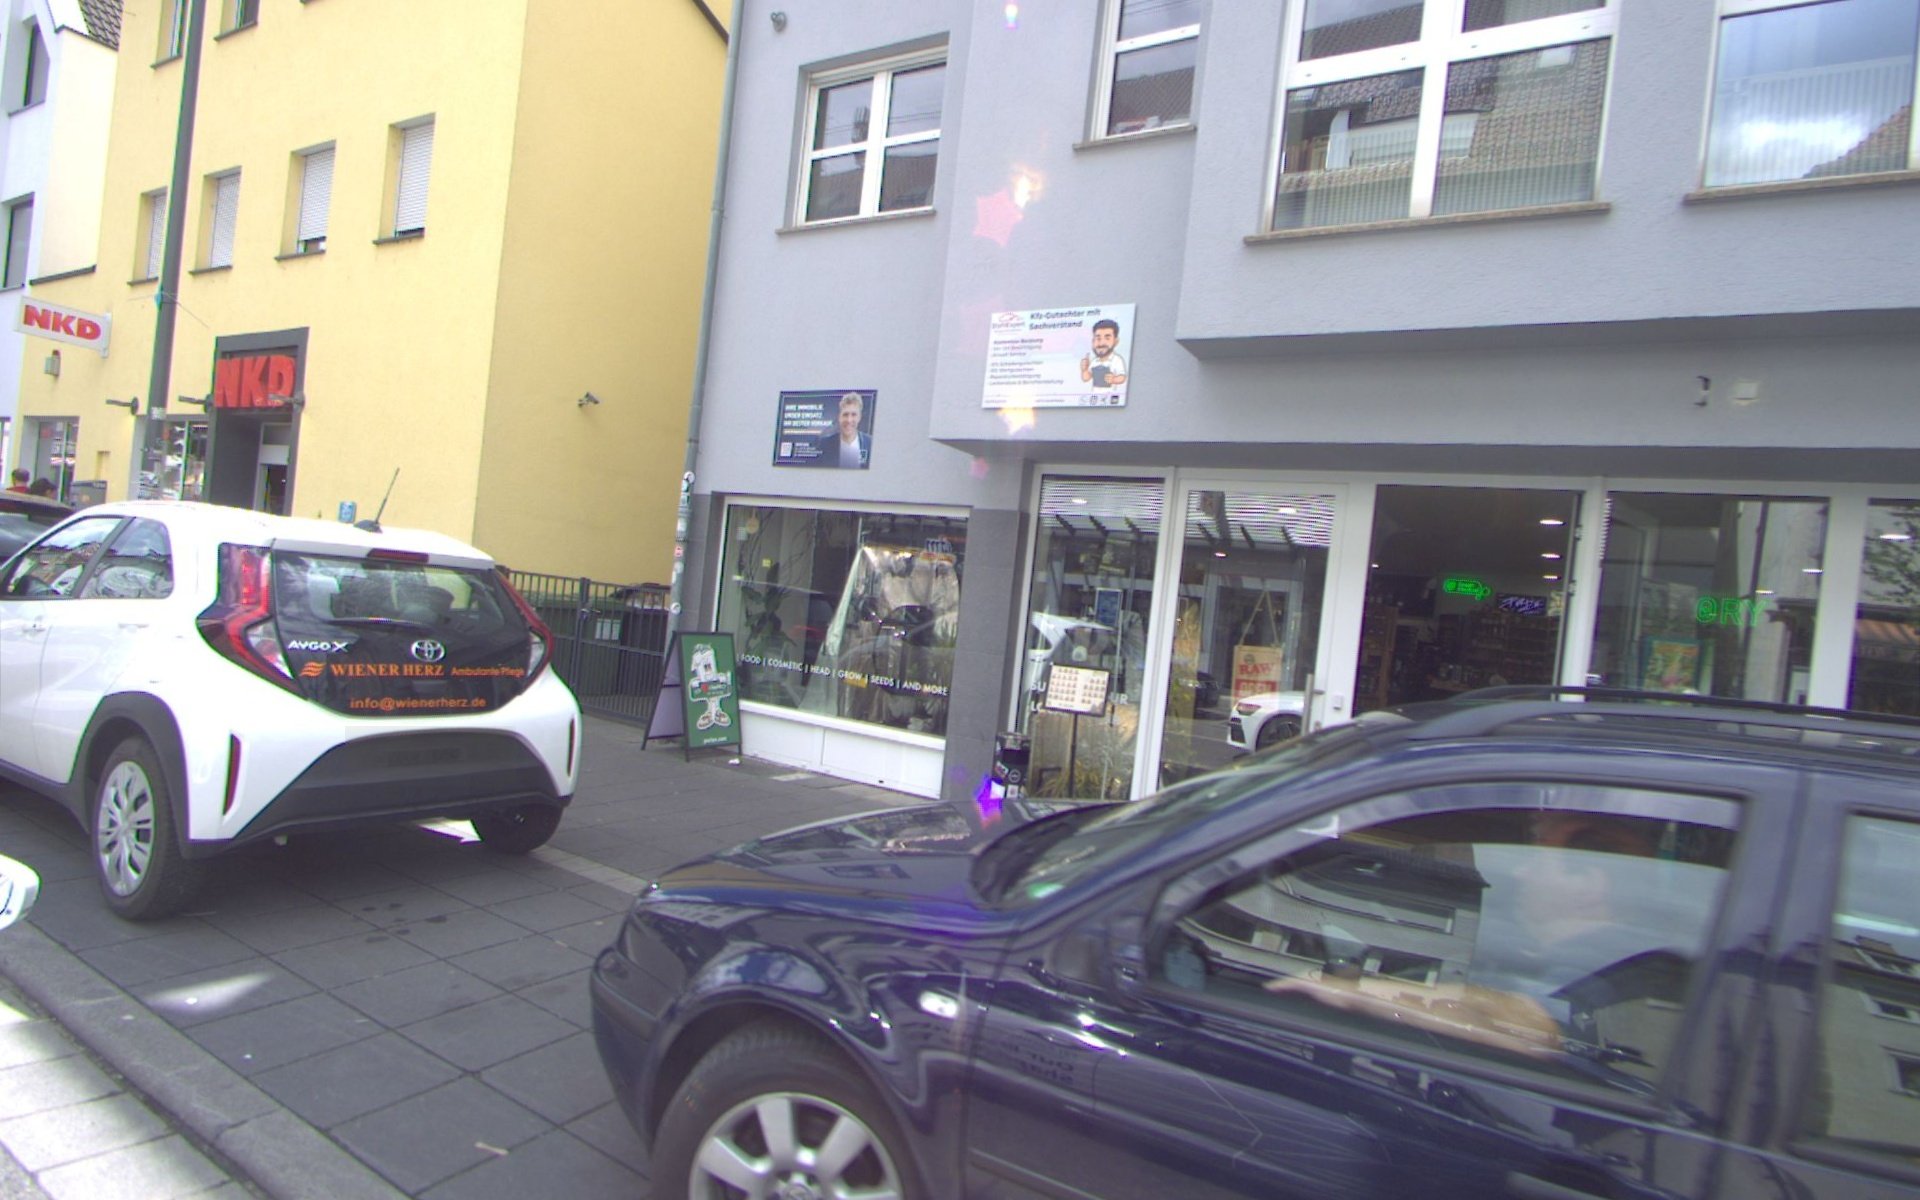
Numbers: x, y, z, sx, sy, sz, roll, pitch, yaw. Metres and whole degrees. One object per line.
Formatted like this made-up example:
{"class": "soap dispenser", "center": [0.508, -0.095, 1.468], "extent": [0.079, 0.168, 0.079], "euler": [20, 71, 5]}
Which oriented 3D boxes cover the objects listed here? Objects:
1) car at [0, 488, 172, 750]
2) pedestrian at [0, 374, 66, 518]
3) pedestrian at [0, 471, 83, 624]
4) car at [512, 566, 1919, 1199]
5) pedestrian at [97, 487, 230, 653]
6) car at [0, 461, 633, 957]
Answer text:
{"class": "car", "center": [-7.506, -0.146, 6.894], "extent": [4.447, 1.489, 1.693], "euler": [8, -1, 31]}
{"class": "pedestrian", "center": [-13.037, -2.128, 14.001], "extent": [0.566, 1.862, 0.589], "euler": [6, -1, 32]}
{"class": "pedestrian", "center": [-11.905, -0.671, 12.970], "extent": [0.566, 1.862, 0.589], "euler": [6, -1, 32]}
{"class": "car", "center": [1.276, 0.863, 2.037], "extent": [4.221, 1.459, 1.691], "euler": [6, 2, 28]}
{"class": "pedestrian", "center": [-8.048, -0.291, 10.177], "extent": [0.714, 1.573, 0.750], "euler": [6, 0, 30]}
{"class": "car", "center": [-3.627, 0.294, 4.957], "extent": [3.693, 1.592, 1.693], "euler": [6, -2, 31]}
